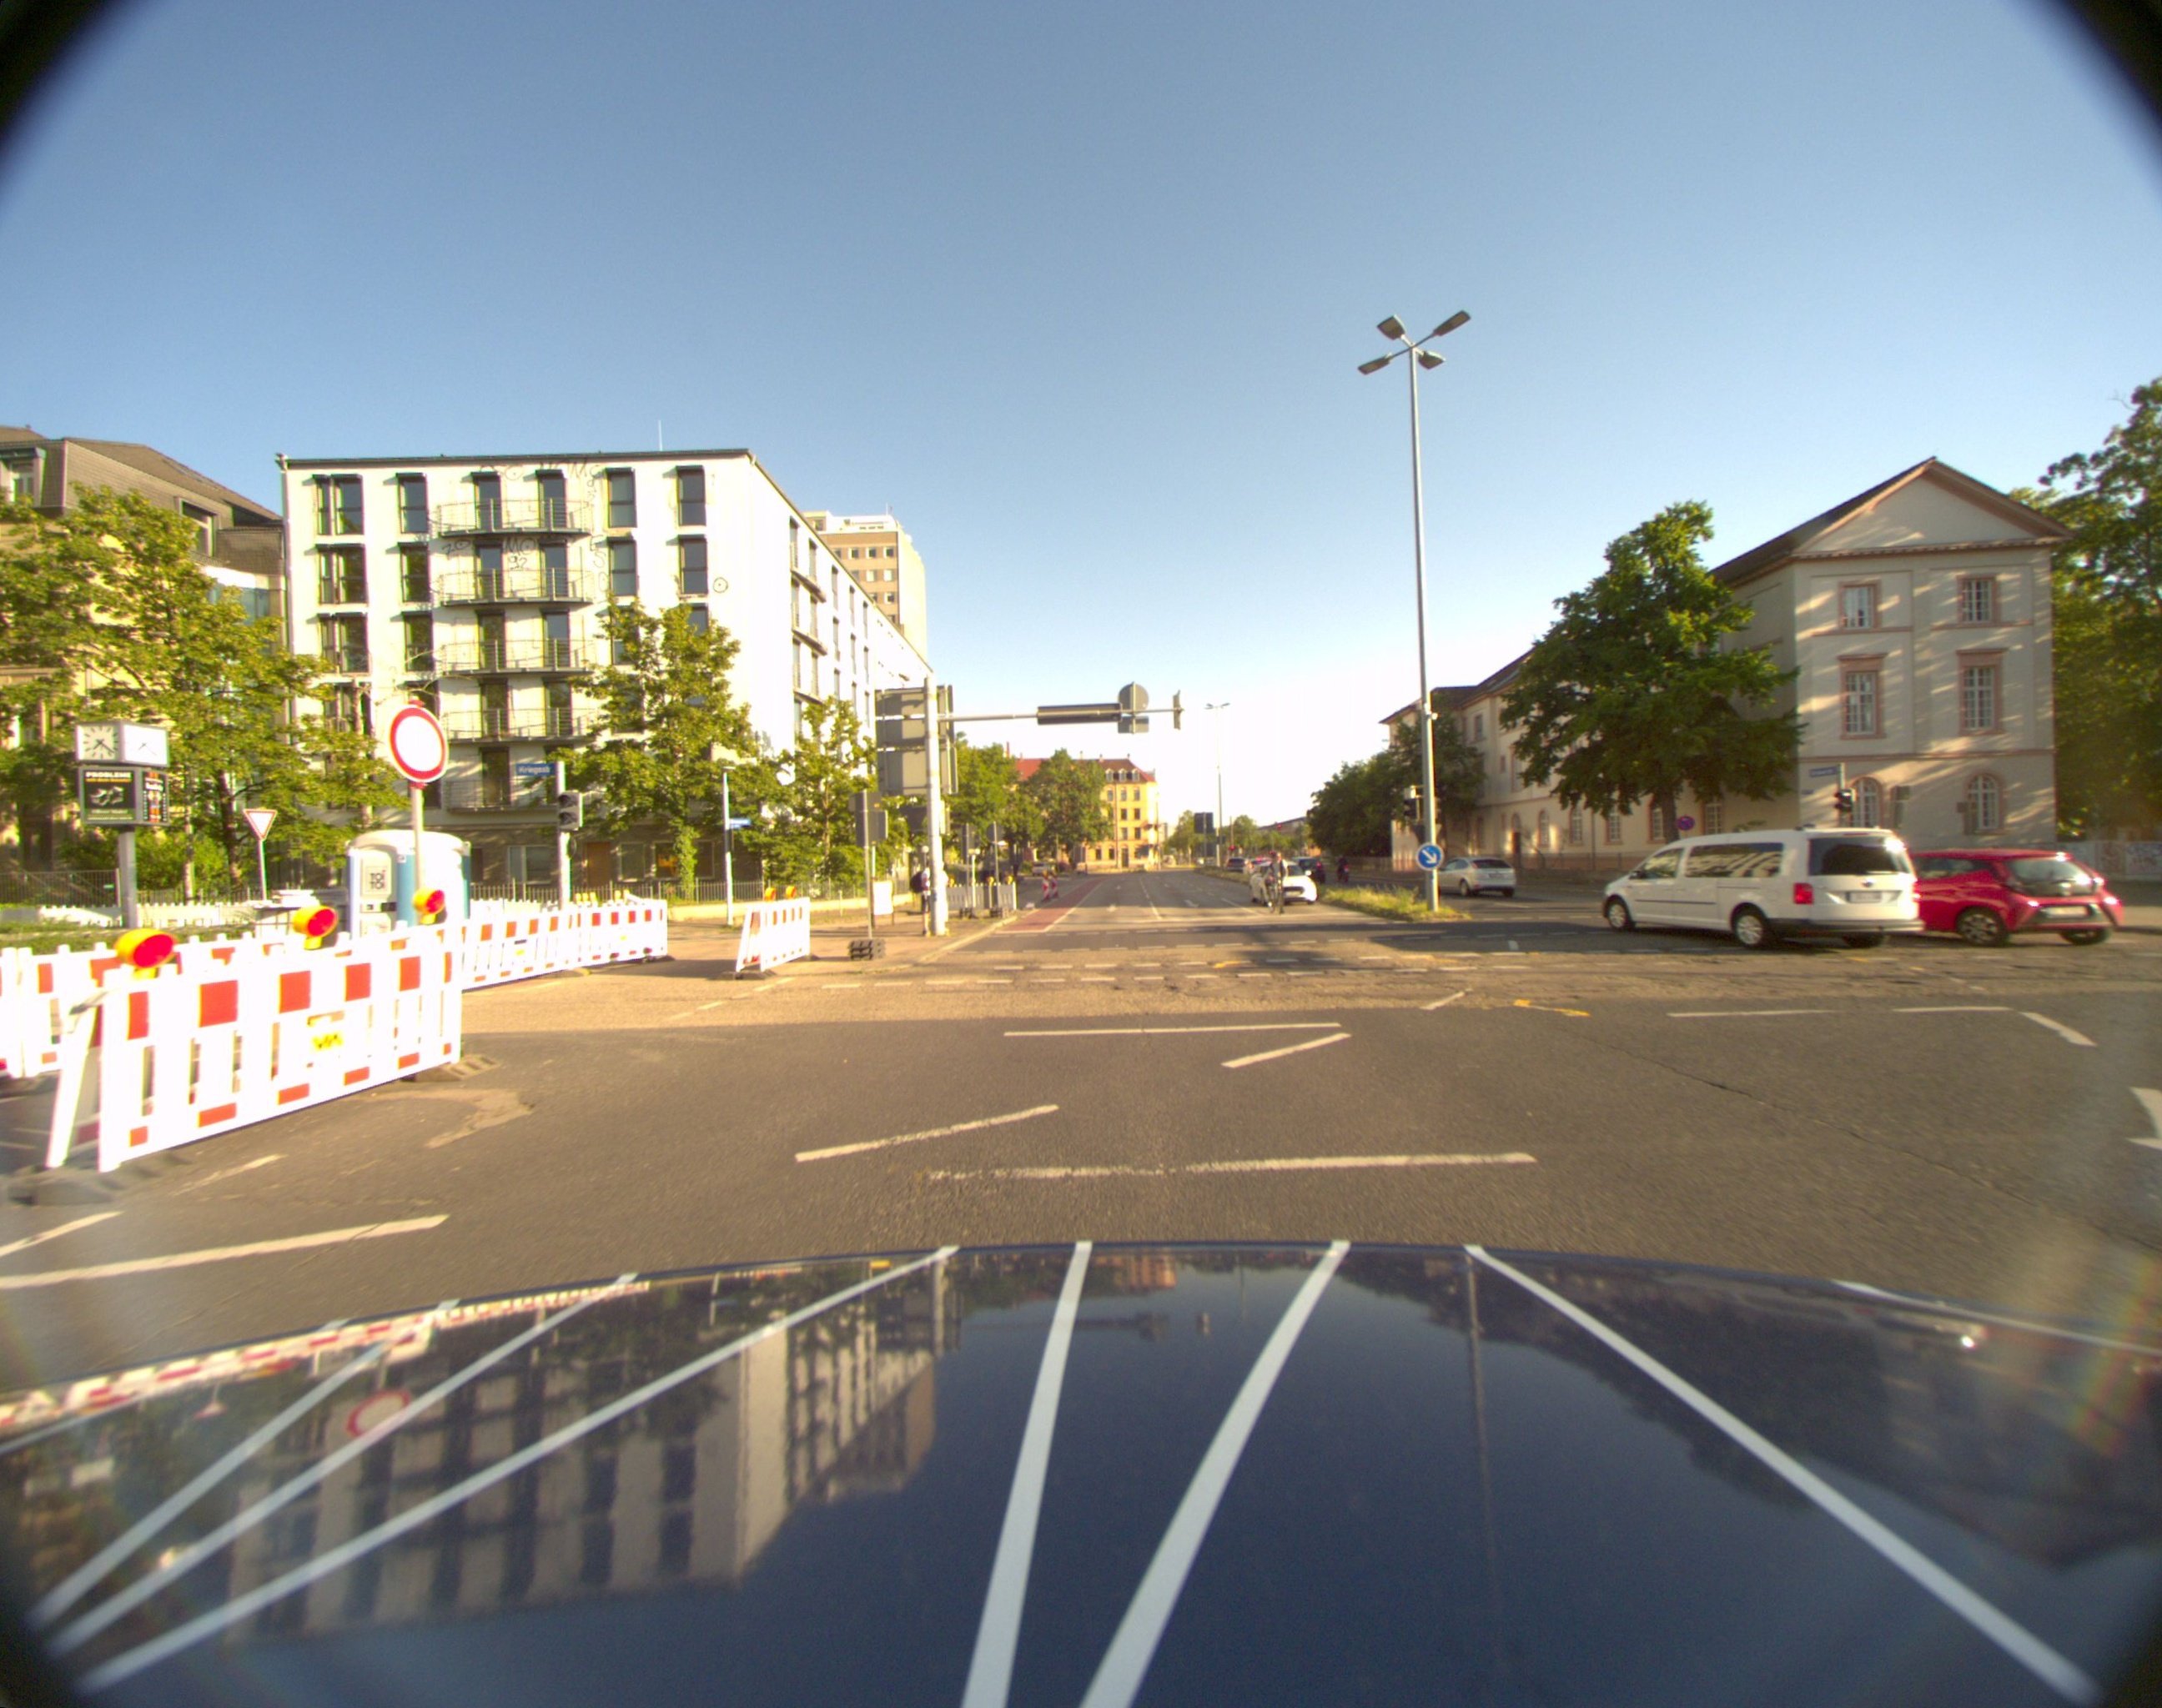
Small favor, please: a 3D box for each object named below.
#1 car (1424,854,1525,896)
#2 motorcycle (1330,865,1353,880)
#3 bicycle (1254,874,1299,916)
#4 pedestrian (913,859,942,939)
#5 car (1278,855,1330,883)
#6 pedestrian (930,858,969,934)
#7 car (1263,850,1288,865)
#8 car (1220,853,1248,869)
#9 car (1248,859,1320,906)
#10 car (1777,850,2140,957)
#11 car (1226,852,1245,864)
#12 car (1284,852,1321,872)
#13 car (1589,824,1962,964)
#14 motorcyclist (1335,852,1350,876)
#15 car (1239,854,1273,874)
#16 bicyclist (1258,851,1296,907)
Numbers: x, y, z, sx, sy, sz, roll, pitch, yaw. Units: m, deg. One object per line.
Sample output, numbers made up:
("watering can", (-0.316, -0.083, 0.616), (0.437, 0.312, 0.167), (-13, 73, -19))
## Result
("car", (14.958, 0.758, 29.156), (1.764, 1.454, 4.293), (-2, 0, 3))
("motorcycle", (15.761, 1.104, 45.965), (0.640, 0.874, 2.161), (-2, 0, 1))
("bicycle", (5.703, 1.186, 22.278), (0.833, 1.101, 2.081), (-2, 0, 3))
("pedestrian", (-3.687, 1.054, 18.221), (0.500, 1.866, 0.601), (-2, 1, -25))
("car", (12.442, 0.799, 42.627), (1.764, 1.454, 4.293), (-2, 0, 3))
("pedestrian", (-3.330, 1.045, 19.310), (0.576, 1.866, 0.711), (-1, 1, 38))
("car", (21.688, 0.376, 84.919), (1.764, 1.626, 4.293), (-2, 0, 3))
("car", (14.917, 0.657, 74.154), (2.047, 1.454, 4.293), (-2, 0, 3))
("car", (7.056, 0.946, 26.784), (1.764, 1.490, 3.709), (-2, 0, 5))
("car", (14.166, 0.702, 12.663), (1.711, 1.469, 3.813), (-2, 0, 3))
("car", (20.607, 0.540, 101.045), (2.045, 1.545, 4.298), (-2, 0, 17))
("car", (17.203, 0.616, 59.090), (1.764, 1.454, 4.293), (-2, 0, 3))
("car", (11.030, 0.543, 12.728), (1.832, 1.836, 4.947), (-2, 0, 2))
("motorcyclist", (15.752, 0.611, 45.741), (0.620, 1.398, 0.756), (-2, 0, 1))
("car", (13.633, 0.774, 59.338), (1.764, 1.454, 4.293), (-2, 0, 3))
("bicyclist", (5.708, 0.720, 22.222), (0.838, 1.594, 1.023), (-2, 0, 3))
